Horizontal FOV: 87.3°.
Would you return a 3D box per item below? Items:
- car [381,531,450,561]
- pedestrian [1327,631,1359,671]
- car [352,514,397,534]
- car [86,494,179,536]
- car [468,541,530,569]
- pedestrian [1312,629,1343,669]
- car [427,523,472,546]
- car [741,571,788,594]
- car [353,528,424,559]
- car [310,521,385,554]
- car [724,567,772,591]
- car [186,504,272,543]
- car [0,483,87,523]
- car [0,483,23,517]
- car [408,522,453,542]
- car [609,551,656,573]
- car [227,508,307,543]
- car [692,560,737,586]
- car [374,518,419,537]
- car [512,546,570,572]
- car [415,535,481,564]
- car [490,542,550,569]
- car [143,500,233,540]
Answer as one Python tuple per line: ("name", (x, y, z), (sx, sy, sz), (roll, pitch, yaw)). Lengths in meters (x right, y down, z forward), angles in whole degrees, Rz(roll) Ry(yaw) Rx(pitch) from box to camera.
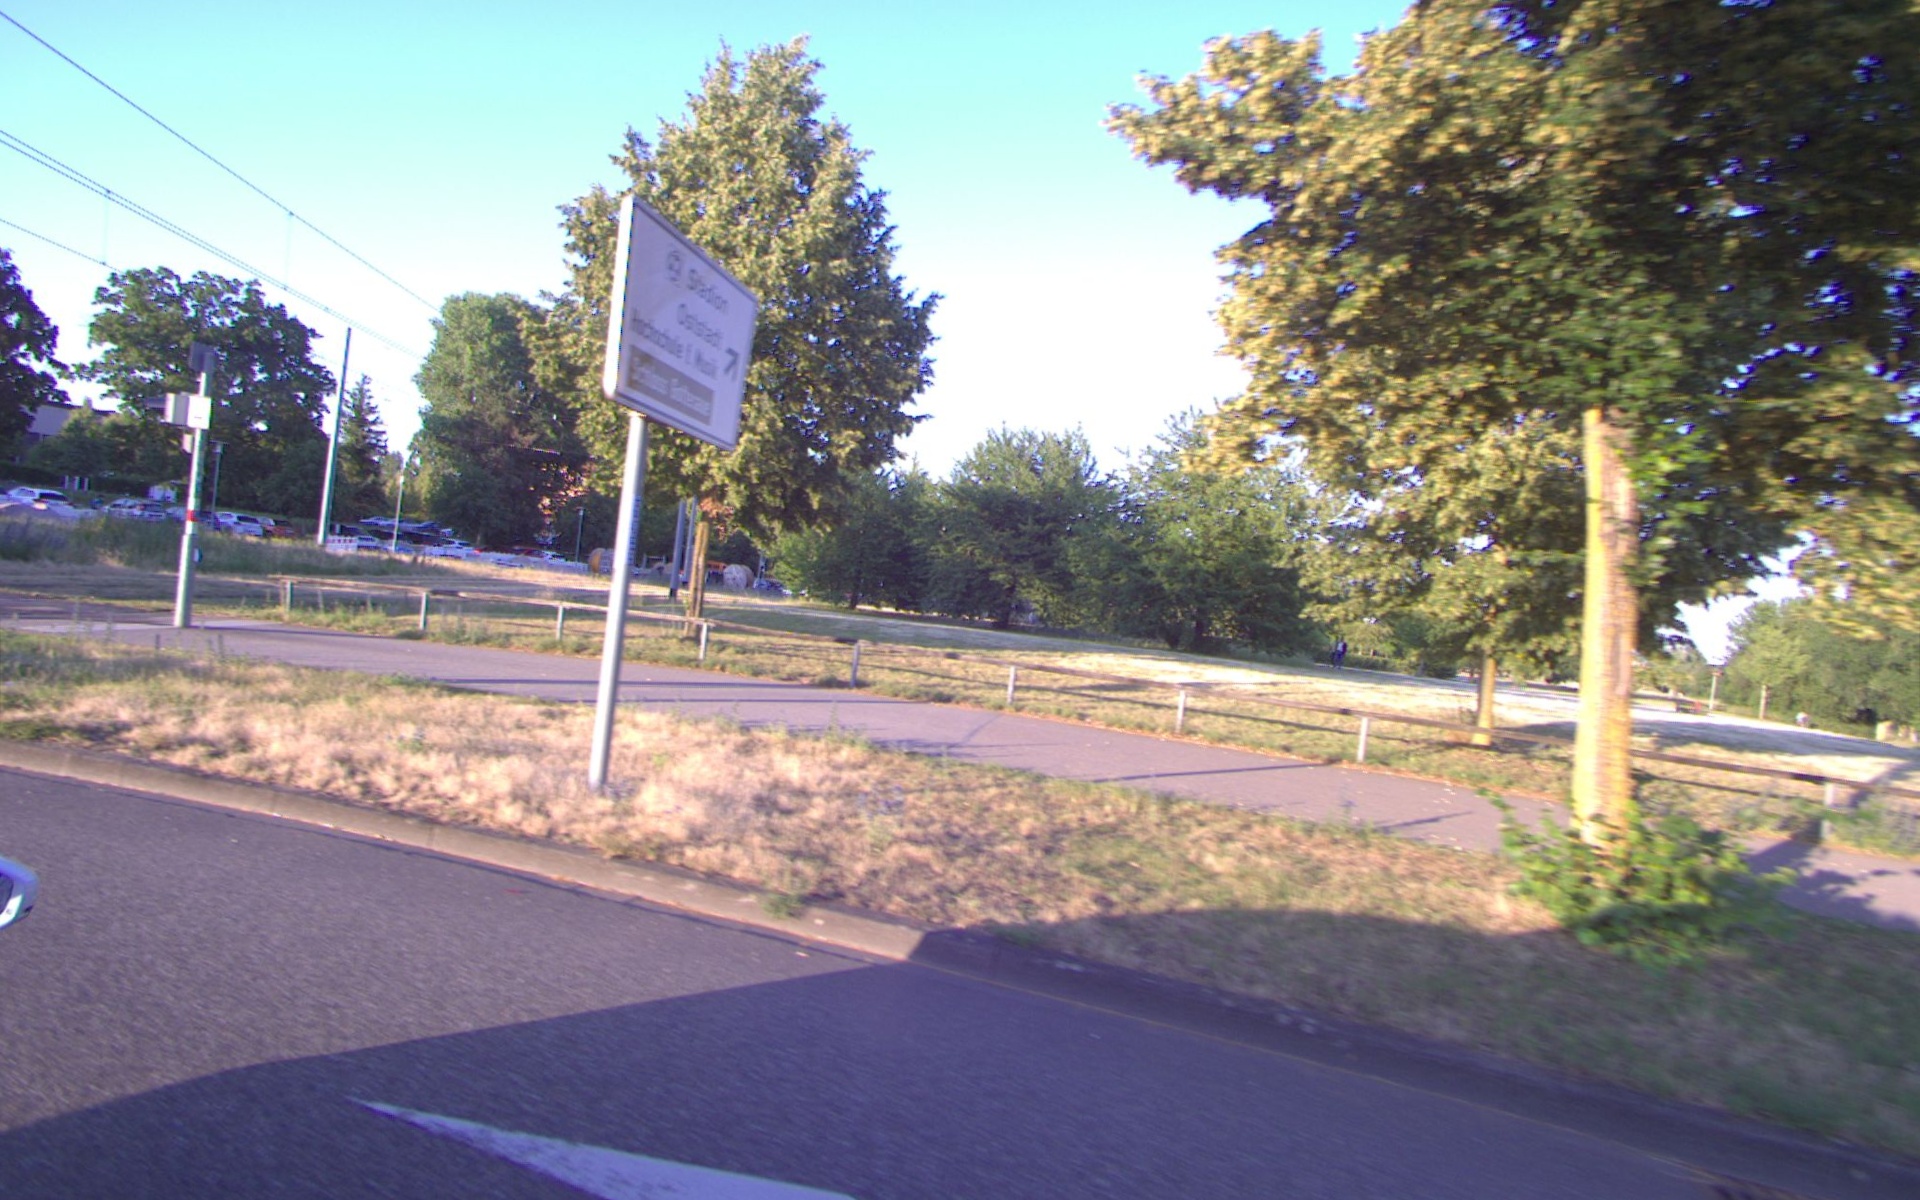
("car", (-38.063, -3.758, 70.319), (3.924, 1.573, 1.904), (7, 0, 16))
("pedestrian", (19.487, 2.593, 51.188), (1.097, 1.887, 0.900), (6, 1, -42))
("car", (-65.971, -8.547, 113.334), (1.868, 1.573, 3.999), (7, 0, 20))
("car", (-44.605, -4.573, 54.244), (3.924, 1.682, 1.953), (7, 0, 16))
("car", (-35.300, -3.450, 77.126), (3.924, 1.573, 1.904), (7, 0, 16))
("pedestrian", (19.150, 2.559, 52.400), (1.097, 1.887, 0.900), (6, 1, -42))
("car", (-55.317, -7.089, 109.089), (1.963, 1.766, 4.000), (8, 0, 19))
("car", (-17.641, -1.600, 90.808), (3.543, 1.499, 1.713), (8, -1, 13))
("car", (-38.744, -3.818, 68.235), (3.924, 1.573, 1.904), (7, 0, 16))
("car", (-39.943, -4.082, 65.607), (4.021, 1.573, 1.904), (7, 0, 16))
("car", (-18.550, -1.797, 88.074), (3.543, 1.499, 1.713), (8, -1, 13))
("car", (-42.514, -4.449, 58.533), (3.924, 1.682, 1.953), (7, 0, 16))
("car", (-45.473, -4.817, 49.502), (3.924, 1.463, 1.953), (7, 0, 16))
("car", (-46.573, -4.945, 47.255), (3.924, 1.463, 1.953), (7, 0, 16))
("car", (-58.036, -7.432, 110.262), (1.868, 1.573, 3.999), (7, 0, 20))
("car", (-30.361, -3.516, 93.170), (3.609, 1.370, 1.801), (8, -1, 13))
("car", (-42.077, -4.530, 61.101), (3.924, 1.573, 1.904), (7, 0, 16))
("car", (-25.671, -2.809, 105.210), (3.924, 2.122, 1.904), (7, 1, 16))
("car", (-62.833, -8.092, 112.205), (1.868, 1.573, 3.999), (7, 0, 20))
("car", (-34.066, -3.354, 81.741), (3.924, 1.573, 1.904), (7, 0, 16))
("car", (-37.085, -3.656, 72.840), (3.924, 1.573, 1.904), (7, 0, 16))
("car", (-34.724, -3.532, 79.365), (3.924, 1.573, 1.904), (7, 0, 16))
("car", (-43.306, -4.479, 56.446), (3.924, 1.682, 1.953), (7, 0, 16))
